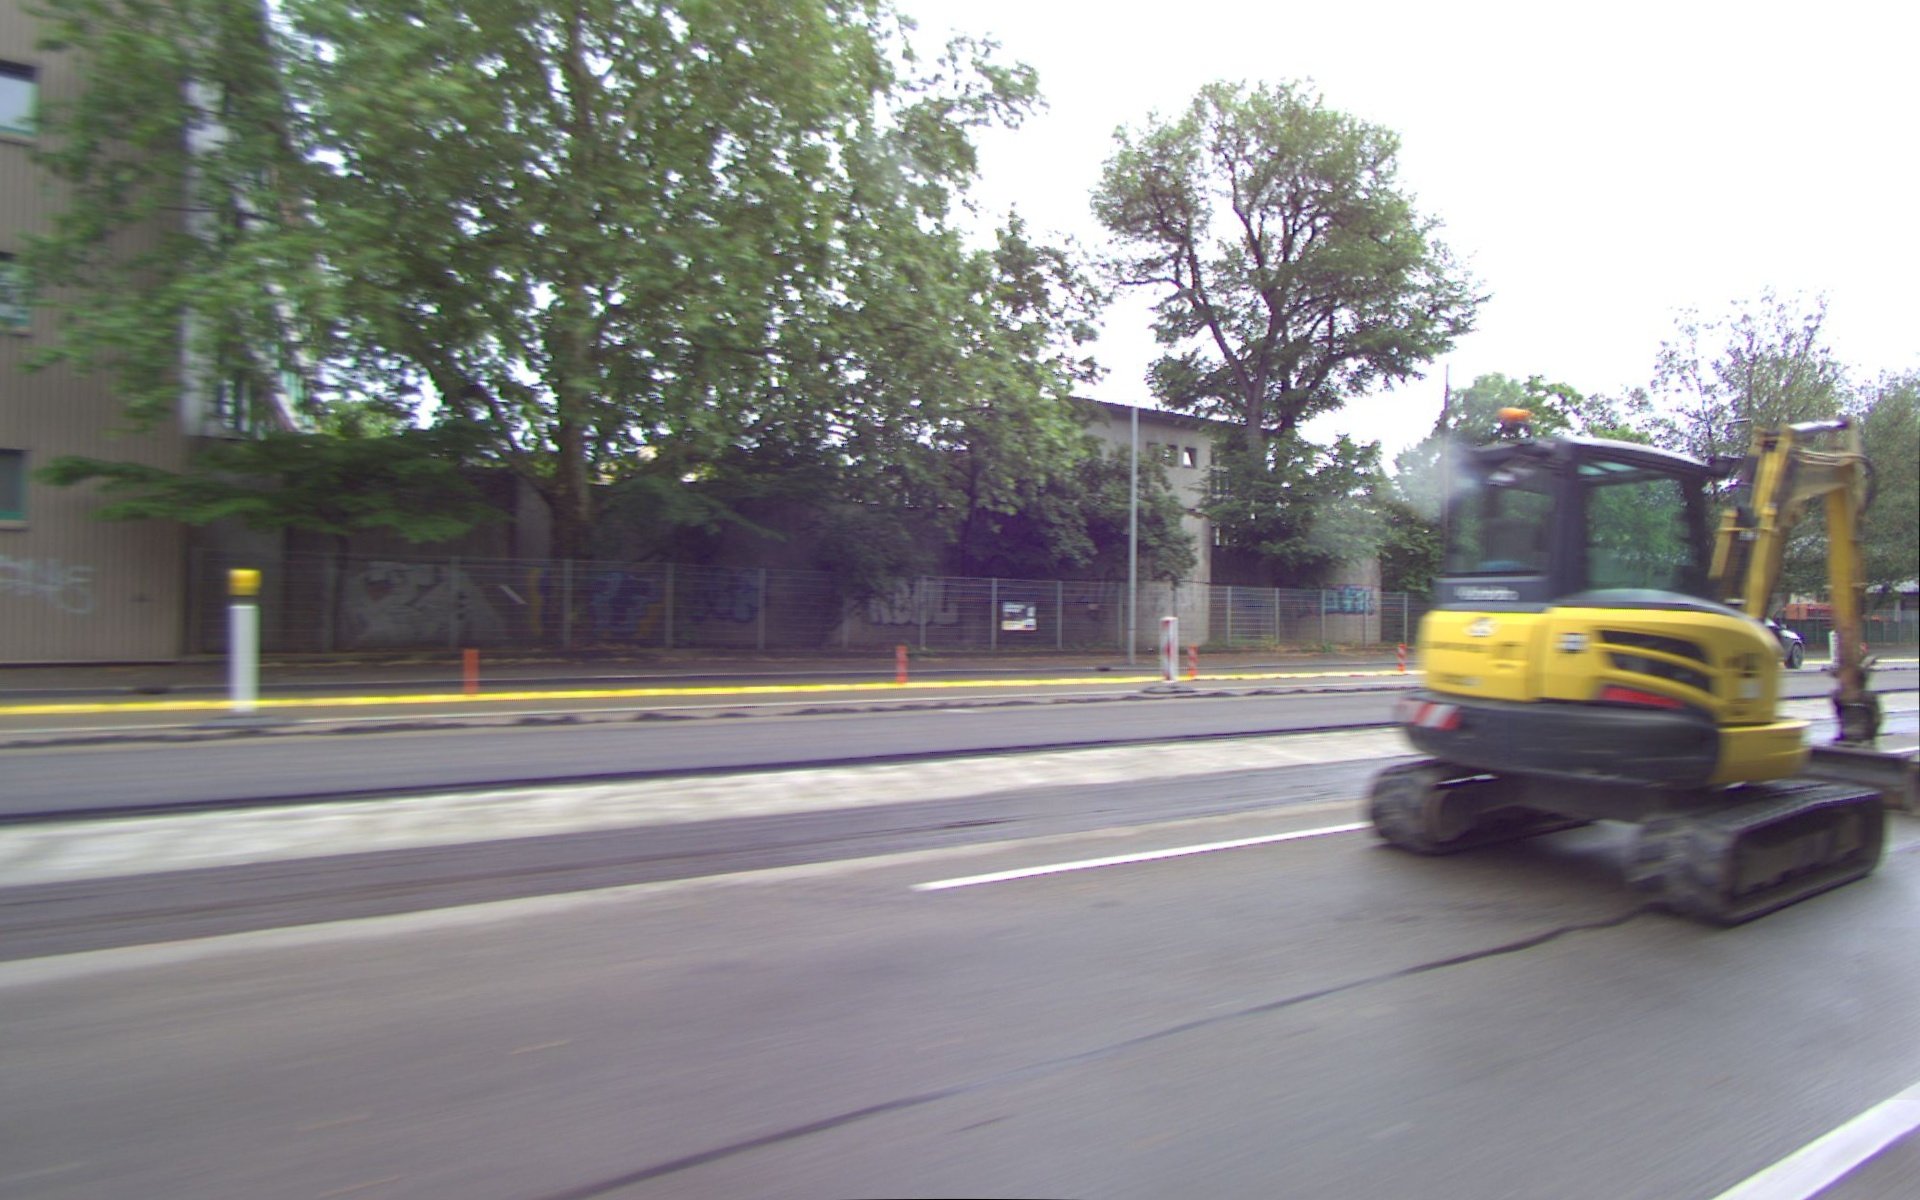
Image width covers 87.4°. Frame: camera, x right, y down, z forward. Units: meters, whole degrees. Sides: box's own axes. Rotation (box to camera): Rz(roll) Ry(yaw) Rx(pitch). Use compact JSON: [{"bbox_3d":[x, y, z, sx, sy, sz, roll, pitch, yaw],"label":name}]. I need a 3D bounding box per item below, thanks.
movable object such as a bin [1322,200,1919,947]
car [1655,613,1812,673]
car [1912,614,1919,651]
[{"bbox_3d":[5.351,-0.054,6.937,5.911,3.412,1.984,2,0,-30],"label":"movable object such as a bin"},{"bbox_3d":[23.315,1.271,30.236,4.998,1.635,2.066,2,0,-31],"label":"car"},{"bbox_3d":[48.560,1.613,48.975,4.228,1.790,1.984,2,0,-30],"label":"car"}]
